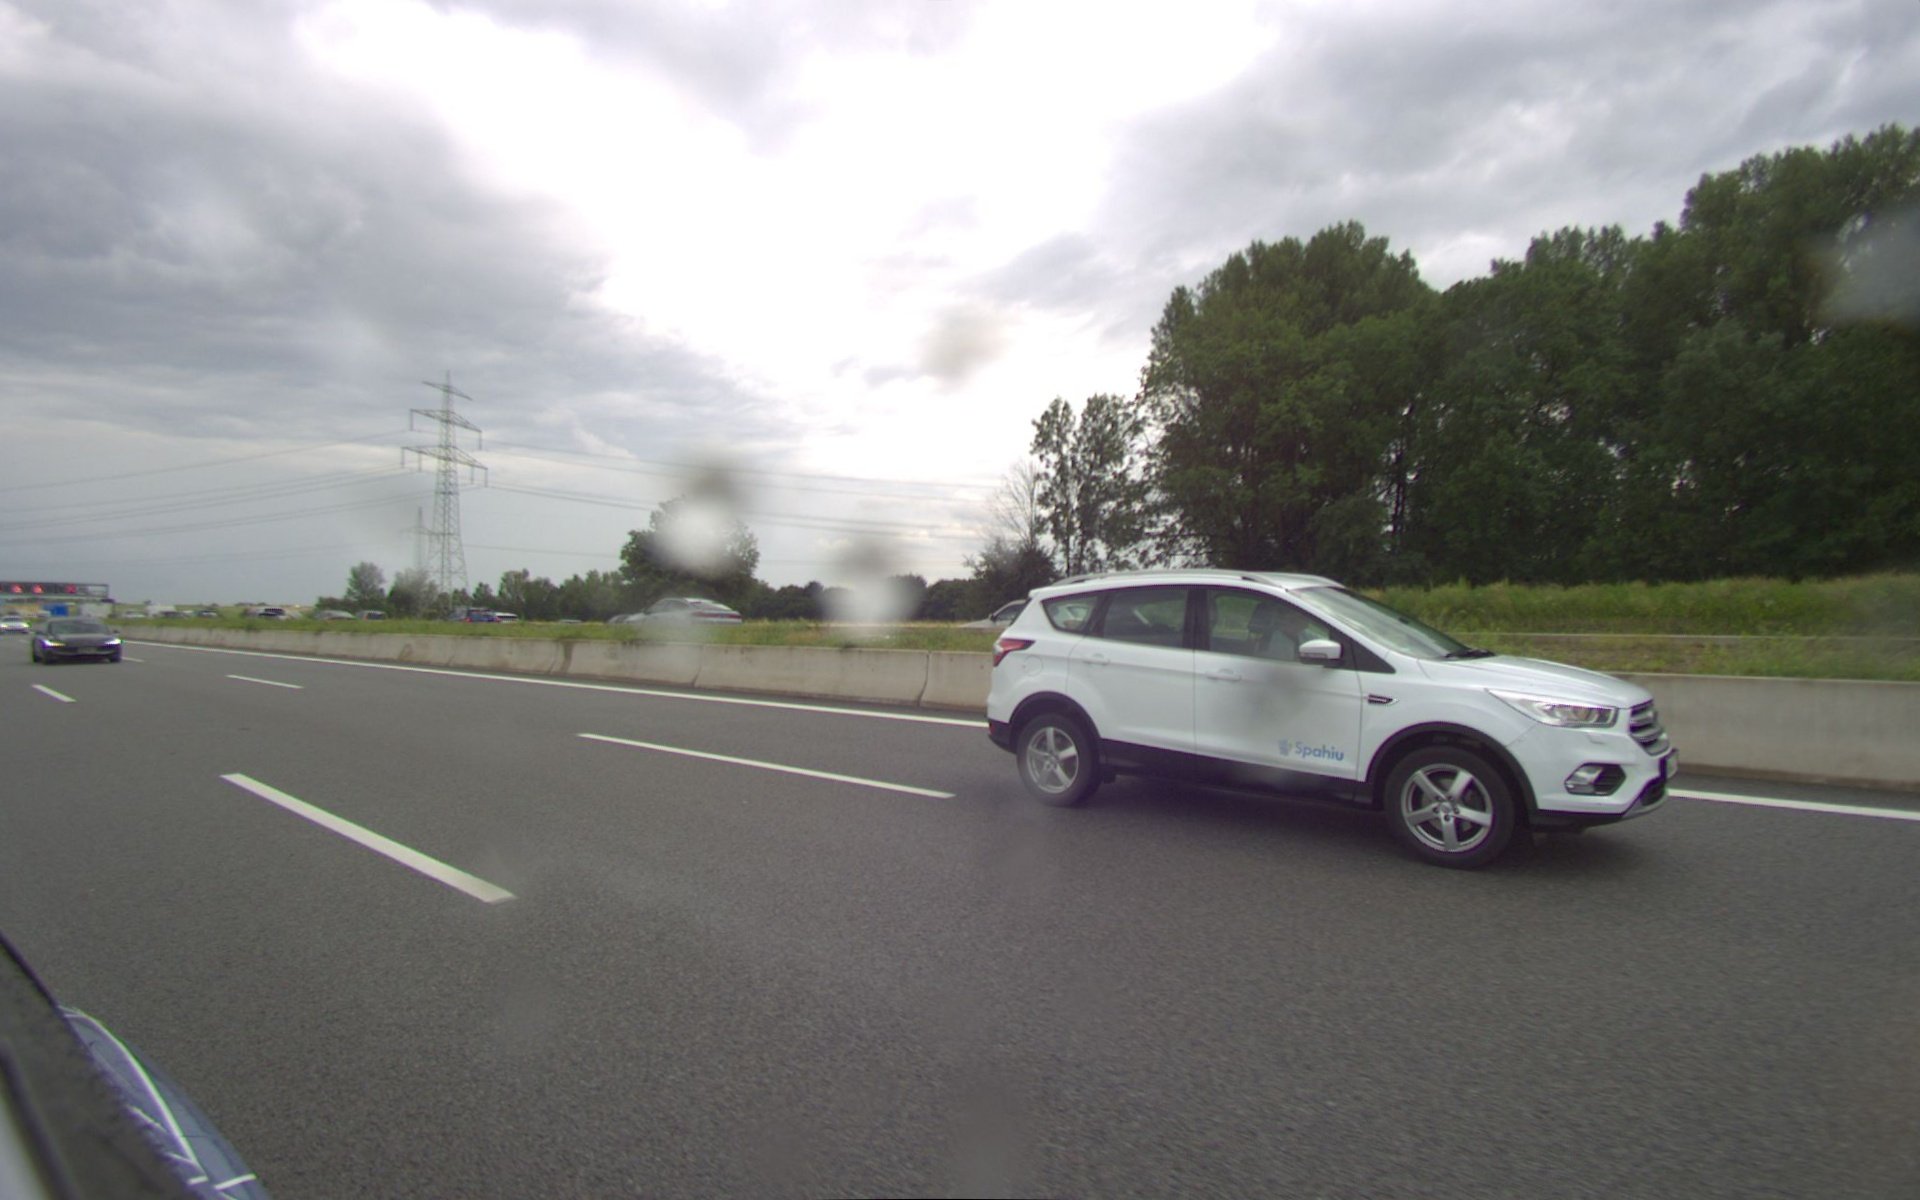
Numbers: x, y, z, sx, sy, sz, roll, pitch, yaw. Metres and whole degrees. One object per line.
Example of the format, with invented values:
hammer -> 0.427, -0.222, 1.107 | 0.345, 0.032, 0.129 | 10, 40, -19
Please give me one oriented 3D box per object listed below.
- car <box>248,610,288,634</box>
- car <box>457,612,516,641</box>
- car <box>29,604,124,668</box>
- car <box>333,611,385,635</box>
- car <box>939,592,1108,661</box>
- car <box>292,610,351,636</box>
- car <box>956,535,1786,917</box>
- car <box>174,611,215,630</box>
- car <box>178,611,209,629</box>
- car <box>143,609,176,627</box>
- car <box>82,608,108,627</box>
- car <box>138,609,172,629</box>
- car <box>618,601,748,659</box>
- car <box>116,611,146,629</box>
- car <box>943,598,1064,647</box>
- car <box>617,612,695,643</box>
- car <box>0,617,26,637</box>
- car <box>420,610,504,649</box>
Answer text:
car -> -55.986, 1.763, 81.870 | 3.999, 1.922, 1.800 | -1, 0, 42
car -> -23.991, 1.325, 51.252 | 3.595, 1.422, 1.448 | -1, 0, 42
car -> -27.804, 1.081, 31.789 | 1.970, 1.834, 5.166 | 0, 0, -44
car -> -38.699, 1.468, 65.132 | 3.999, 1.422, 1.800 | -1, 0, 42
car -> 1.656, 0.685, 27.299 | 4.349, 1.710, 1.763 | -1, 0, 40
car -> -35.893, 1.273, 56.879 | 3.999, 1.422, 1.800 | -1, 0, 42
car -> 2.384, 0.599, 6.801 | 4.849, 1.702, 1.796 | -1, -1, 41
car -> -58.839, 1.574, 77.790 | 3.999, 1.422, 1.800 | -1, 0, 42
car -> -75.825, 1.983, 100.092 | 3.999, 1.744, 1.800 | -1, 0, 42
car -> -89.731, 1.986, 113.428 | 4.952, 1.985, 2.050 | -1, 0, 42
car -> -99.798, 2.034, 116.719 | 3.999, 2.140, 1.800 | -1, 0, 42
car -> -72.181, 1.725, 90.710 | 3.999, 1.744, 1.800 | -1, 0, 42
car -> -8.902, 0.916, 32.322 | 4.499, 1.710, 1.763 | -1, 0, 40
car -> -83.307, 2.023, 101.675 | 3.999, 1.744, 1.800 | -1, 0, 42
car -> 1.580, 0.822, 37.856 | 4.349, 1.710, 1.763 | -1, 0, 40
car -> -14.568, 1.282, 48.439 | 3.999, 1.422, 1.800 | -1, 0, 42
car -> -76.349, 2.163, 81.153 | 4.000, 1.586, 1.798 | -1, 0, 43
car -> -22.059, 1.284, 44.774 | 4.349, 1.625, 1.763 | -1, 0, 40
